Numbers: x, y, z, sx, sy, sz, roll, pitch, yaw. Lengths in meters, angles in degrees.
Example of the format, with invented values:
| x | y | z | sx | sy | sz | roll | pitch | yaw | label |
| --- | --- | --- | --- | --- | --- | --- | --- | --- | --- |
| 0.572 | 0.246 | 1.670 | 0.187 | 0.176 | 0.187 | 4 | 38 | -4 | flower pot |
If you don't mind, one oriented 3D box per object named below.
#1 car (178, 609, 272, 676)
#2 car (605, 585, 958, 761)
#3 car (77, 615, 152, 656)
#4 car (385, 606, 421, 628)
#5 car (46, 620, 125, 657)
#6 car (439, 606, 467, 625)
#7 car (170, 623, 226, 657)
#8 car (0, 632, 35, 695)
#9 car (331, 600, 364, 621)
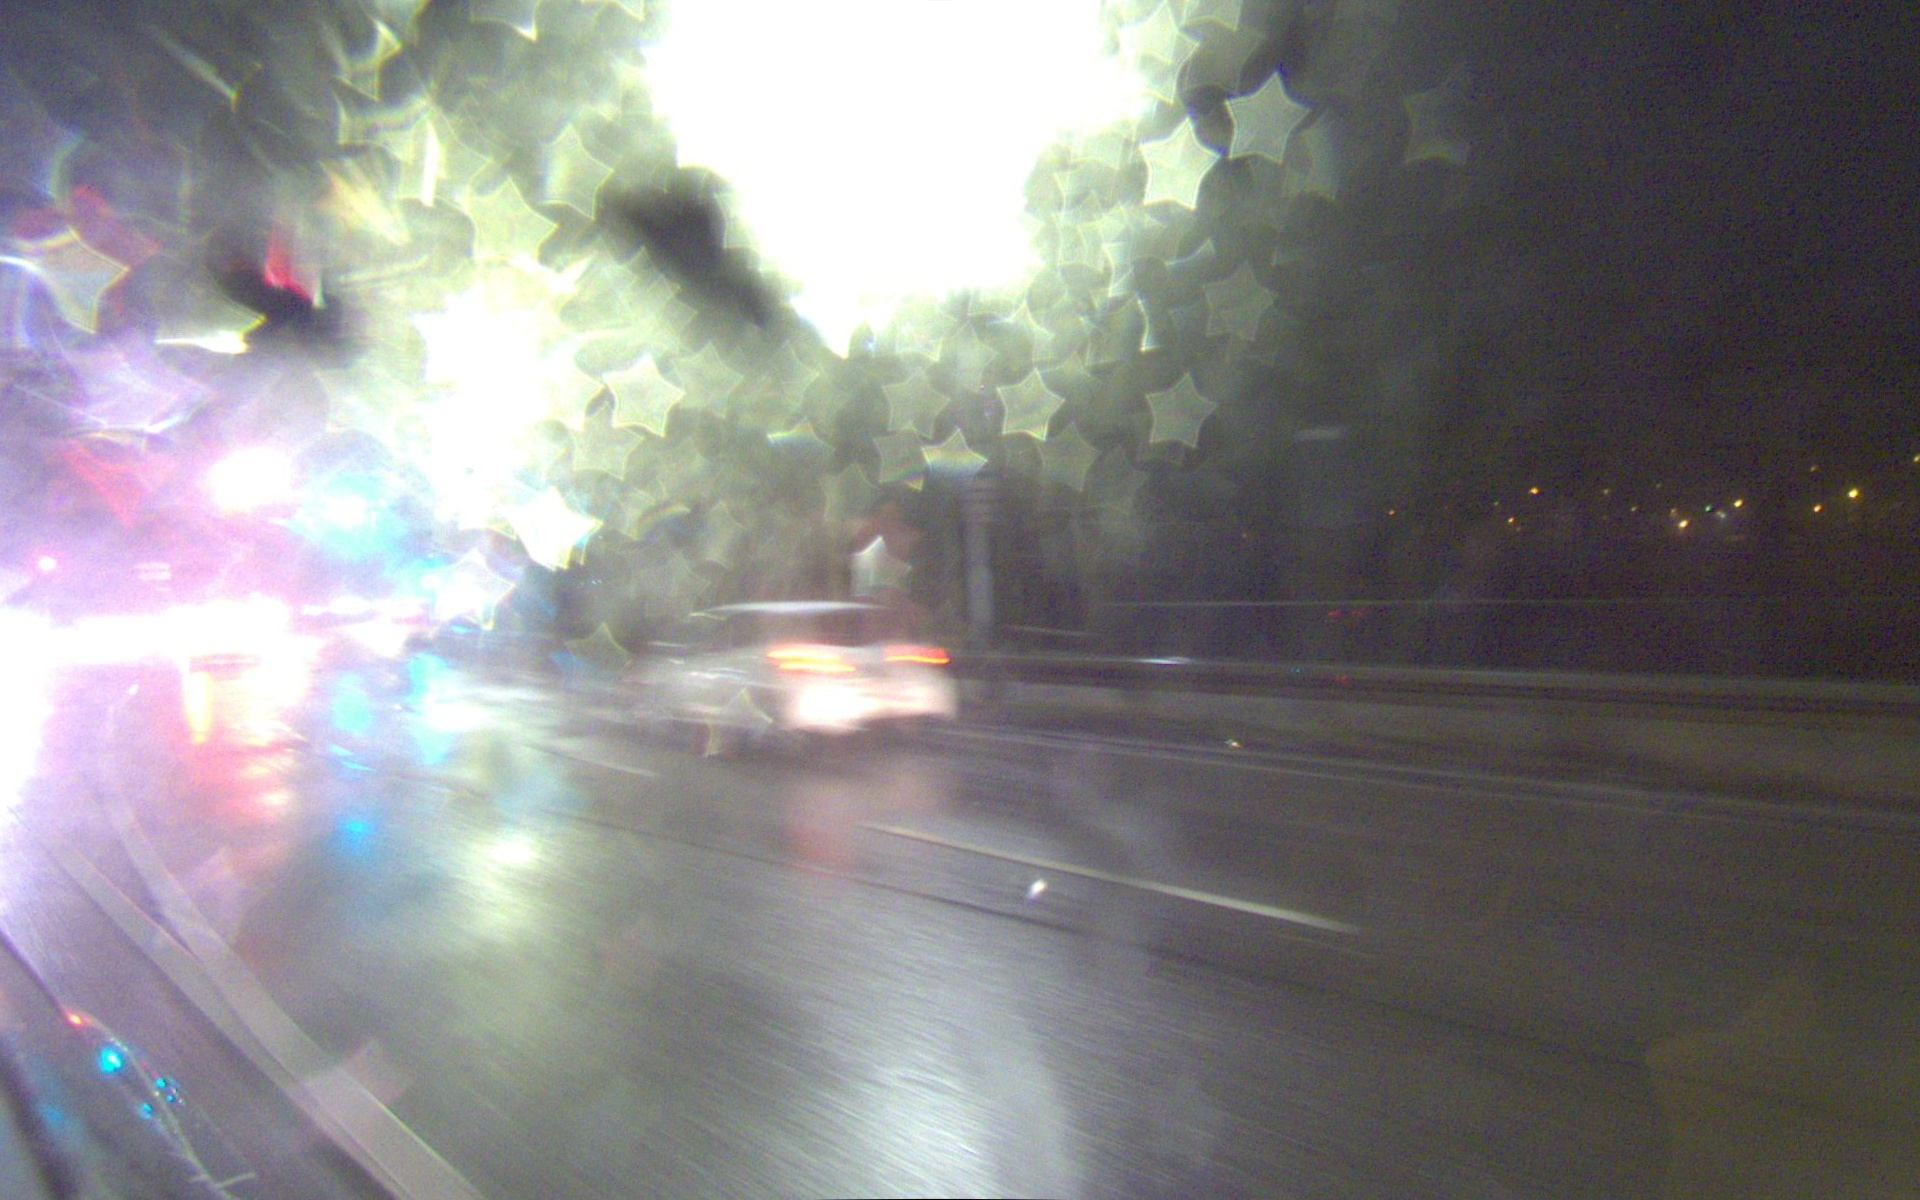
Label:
| x | y | z | sx | sy | sz | roll | pitch | yaw | label |
| --- | --- | --- | --- | --- | --- | --- | --- | --- | --- |
| -21.162 | 1.165 | 29.291 | 1.972 | 1.687 | 4.629 | -2 | 1 | -34 | car |
| -2.043 | 0.665 | 10.854 | 3.950 | 1.529 | 1.746 | -2 | 0 | 45 | car |
| -45.368 | 1.861 | 54.432 | 1.965 | 2.029 | 4.013 | -3 | 0 | -23 | car |
| -41.554 | 1.282 | 75.561 | 1.957 | 1.617 | 4.849 | -1 | -1 | -24 | car |
| -52.659 | 2.259 | 61.052 | 1.966 | 2.029 | 4.011 | -3 | 0 | -15 | car |
| -44.272 | 1.378 | 88.454 | 1.957 | 1.617 | 4.849 | -1 | -1 | -24 | car |
| -49.989 | 2.590 | 66.467 | 1.838 | 2.029 | 4.013 | -3 | 0 | -22 | car |
| -38.182 | 2.557 | 39.871 | 1.969 | 2.027 | 4.010 | -8 | 8 | -36 | car |
| -62.598 | 1.112 | 103.529 | 1.839 | 2.029 | 4.012 | -3 | 0 | -16 | car |
